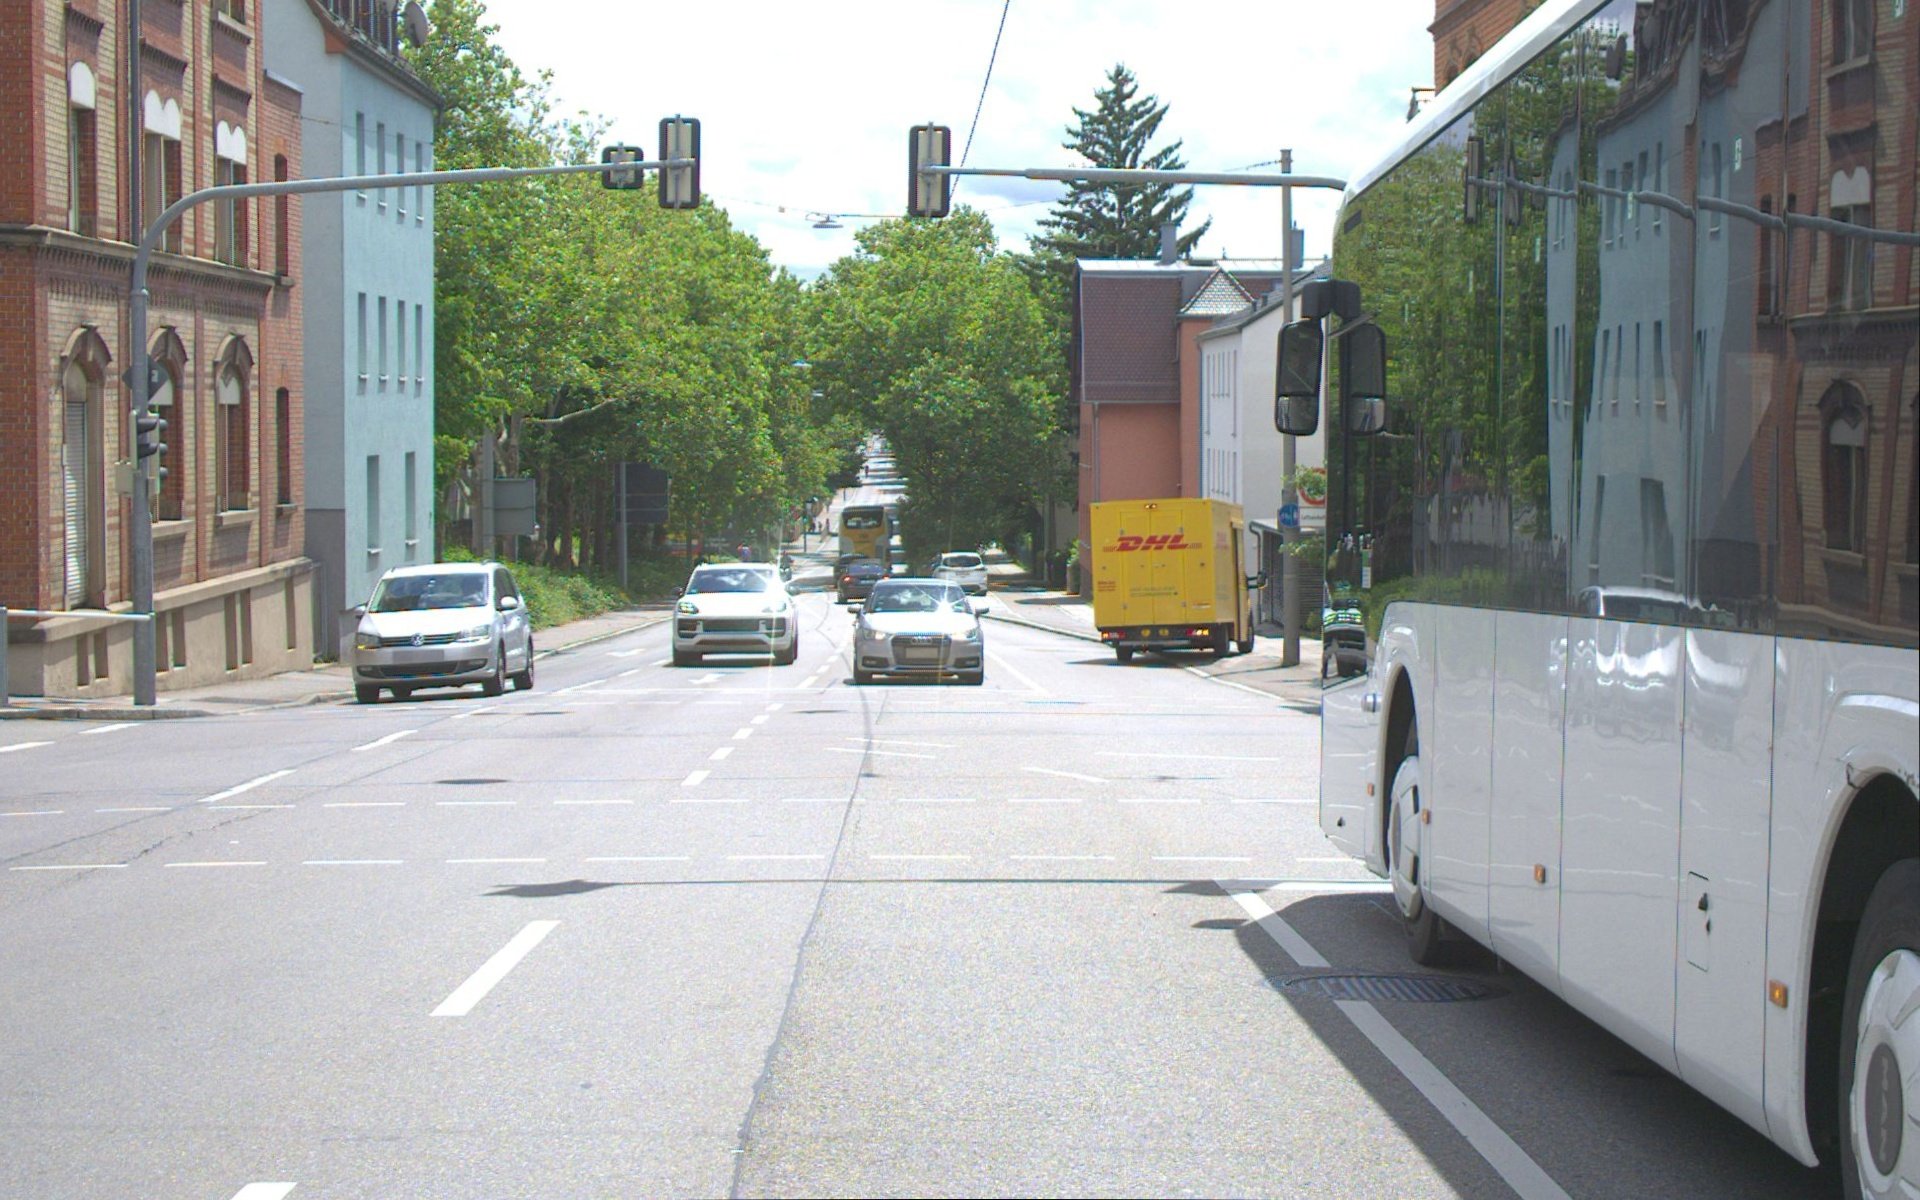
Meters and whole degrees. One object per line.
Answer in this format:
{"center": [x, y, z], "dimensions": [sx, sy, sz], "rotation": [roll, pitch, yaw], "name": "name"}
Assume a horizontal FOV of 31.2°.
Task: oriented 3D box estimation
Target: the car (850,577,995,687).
{"center": [-0.510, 0.392, 46.649], "dimensions": [1.865, 1.363, 4.547], "rotation": [-1, 1, -1], "name": "car"}

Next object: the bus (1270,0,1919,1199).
{"center": [2.951, -0.262, 9.295], "dimensions": [2.904, 3.498, 12.488], "rotation": [1, 1, -1], "name": "bus"}

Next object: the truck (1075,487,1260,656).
{"center": [3.884, -0.522, 62.938], "dimensions": [2.542, 2.903, 6.569], "rotation": [1, 1, 11], "name": "truck"}

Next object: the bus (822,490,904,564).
{"center": [-5.033, -3.683, 175.550], "dimensions": [3.300, 3.618, 11.247], "rotation": [-1, 1, -6], "name": "bus"}

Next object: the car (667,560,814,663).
{"center": [-3.636, 0.159, 57.636], "dimensions": [2.207, 1.607, 4.547], "rotation": [-1, 1, -1], "name": "car"}

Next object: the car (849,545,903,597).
{"center": [-2.918, -1.022, 120.171], "dimensions": [1.819, 1.778, 4.000], "rotation": [-1, 1, -1], "name": "car"}

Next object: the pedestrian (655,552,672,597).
{"center": [-11.791, -1.015, 136.652], "dimensions": [0.606, 1.752, 0.654], "rotation": [-1, 1, -2], "name": "pedestrian"}

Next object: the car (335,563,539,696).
{"center": [-6.522, 0.332, 43.322], "dimensions": [1.935, 1.558, 4.389], "rotation": [-1, 1, -1], "name": "car"}

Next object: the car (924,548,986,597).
{"center": [-0.206, -1.041, 129.511], "dimensions": [2.091, 1.824, 4.143], "rotation": [0, 1, -4], "name": "car"}

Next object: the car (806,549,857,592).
{"center": [-5.574, -1.297, 148.444], "dimensions": [2.091, 1.824, 4.143], "rotation": [0, 1, -4], "name": "car"}
